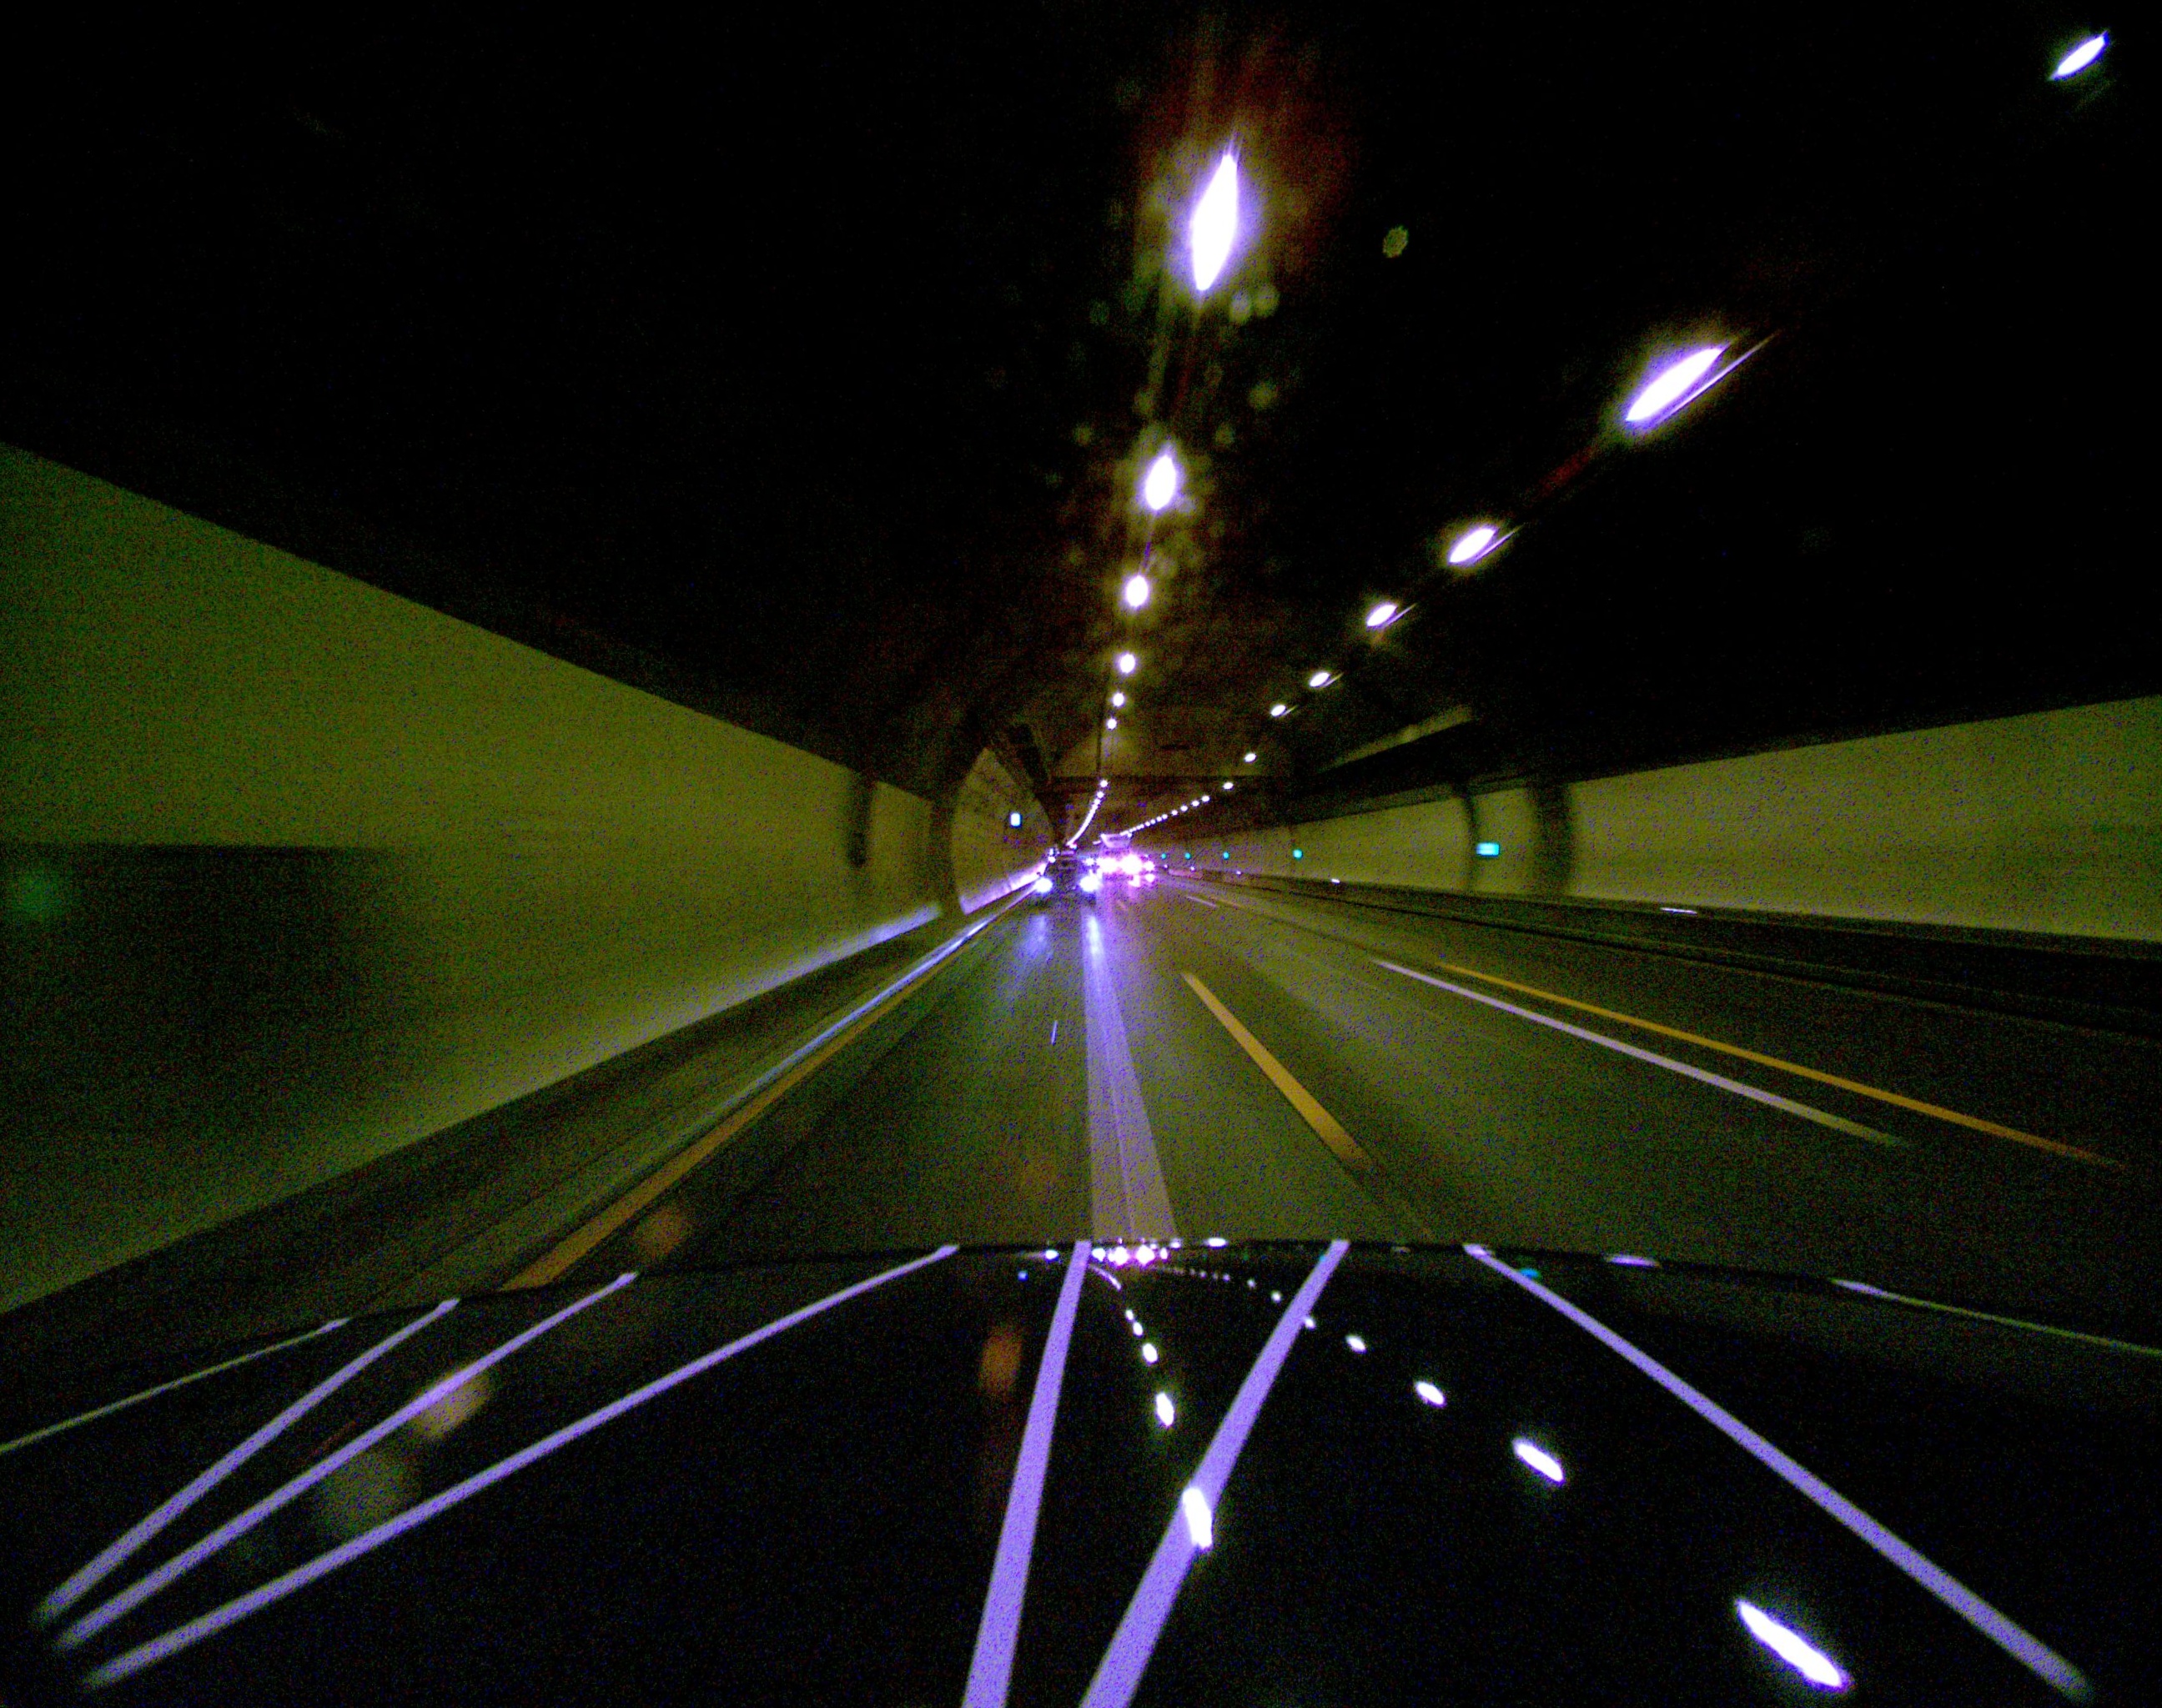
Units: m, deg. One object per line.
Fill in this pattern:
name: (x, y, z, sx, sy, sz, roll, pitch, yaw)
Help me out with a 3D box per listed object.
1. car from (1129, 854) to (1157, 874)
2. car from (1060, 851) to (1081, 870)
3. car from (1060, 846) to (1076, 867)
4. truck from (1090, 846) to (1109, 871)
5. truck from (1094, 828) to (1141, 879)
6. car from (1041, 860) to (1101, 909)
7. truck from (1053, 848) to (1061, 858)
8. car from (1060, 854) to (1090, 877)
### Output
car: (5.285, 0.821, 65.283, 1.998, 1.531, 4.851, -2, 0, 1)
car: (-1.197, 0.729, 84.036, 1.999, 2.002, 4.852, -2, 0, -4)
car: (-1.808, 0.336, 105.694, 1.999, 2.710, 6.272, -2, 0, -3)
truck: (2.399, 0.517, 98.907, 2.162, 3.098, 6.029, -2, 0, 0)
truck: (2.503, -0.035, 54.663, 2.534, 3.314, 7.714, -2, 0, -3)
car: (-0.425, 0.965, 25.973, 1.826, 1.469, 4.520, -2, 0, -3)
truck: (-8.295, -0.368, 264.785, 2.208, 3.449, 11.765, -1, 0, 1)
car: (-0.526, 0.808, 56.793, 1.999, 1.531, 4.741, -2, 0, -3)
